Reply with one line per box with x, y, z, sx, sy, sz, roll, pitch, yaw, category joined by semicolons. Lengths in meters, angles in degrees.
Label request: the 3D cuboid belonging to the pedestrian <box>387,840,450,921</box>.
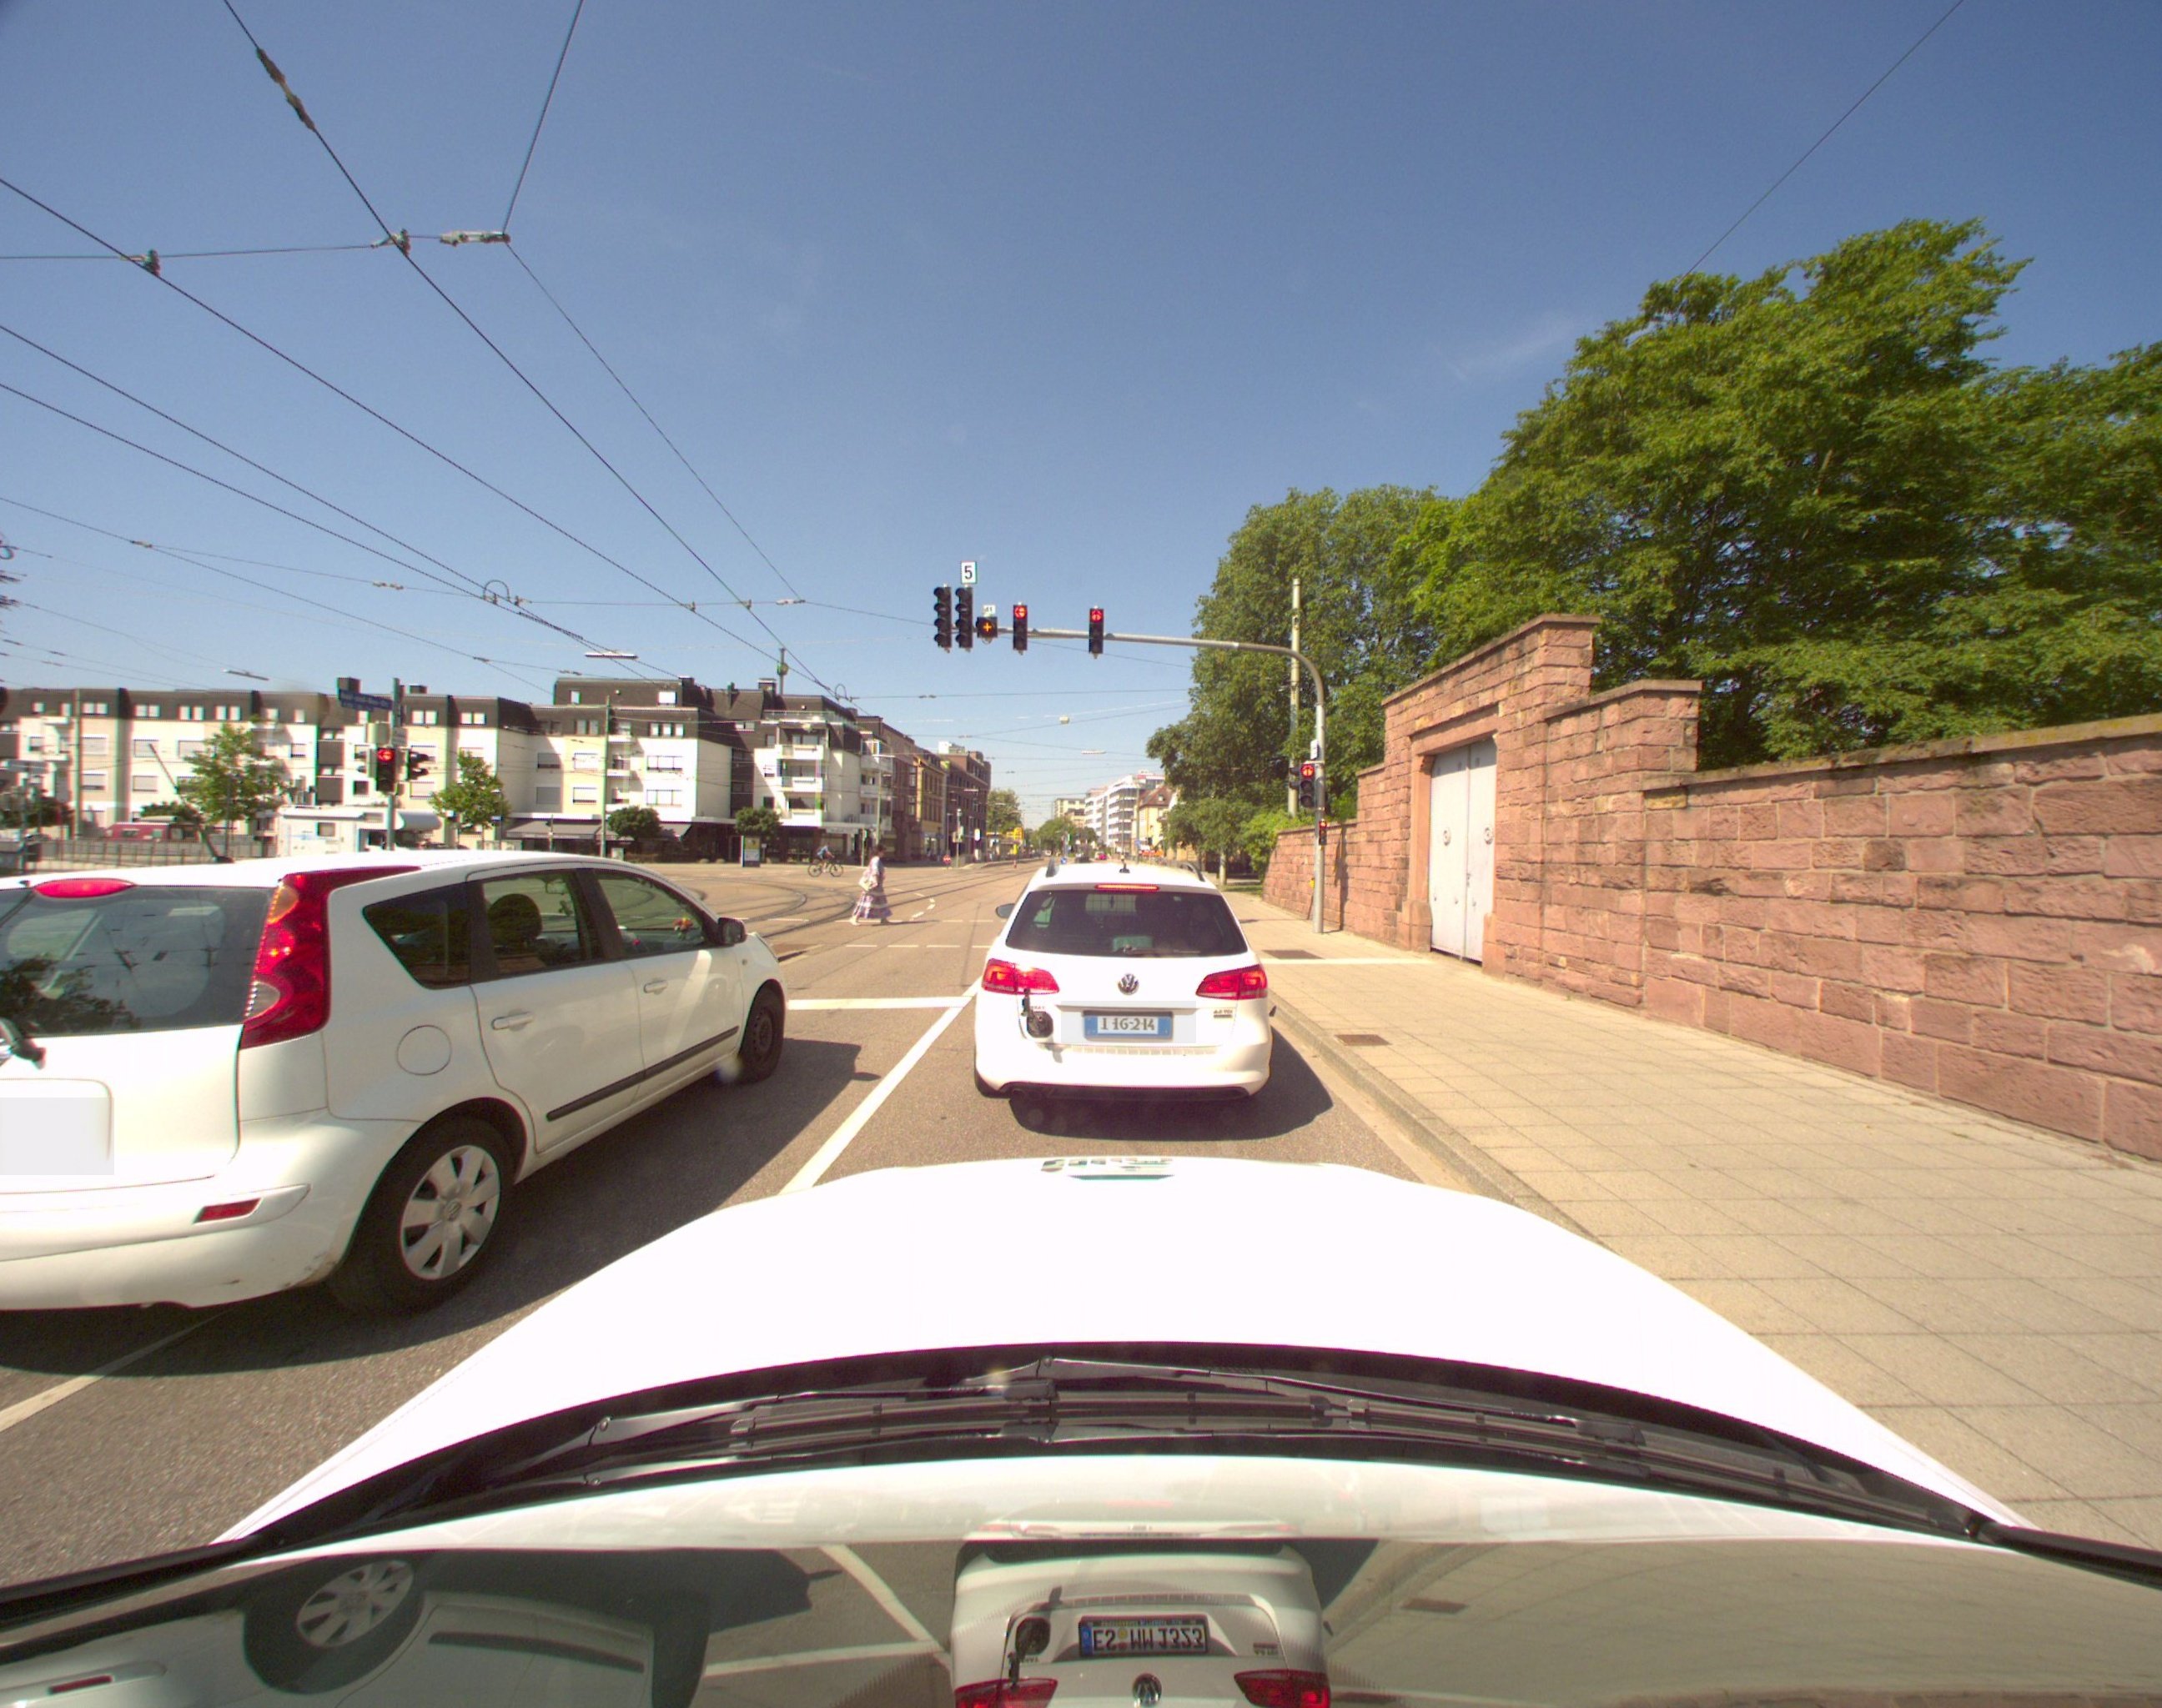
-13.230;0.523;16.276;0.746;1.571;0.672;-1;0;-13;pedestrian

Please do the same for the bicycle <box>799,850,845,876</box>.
-13.502;0.466;42.485;2.249;1.297;0.556;0;-1;-20;bicycle

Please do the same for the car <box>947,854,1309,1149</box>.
0.293;0.739;6.079;1.801;1.448;4.001;0;0;1;car

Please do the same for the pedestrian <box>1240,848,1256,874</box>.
11.689;0.488;56.924;0.963;1.743;0.869;-1;-1;21;pedestrian

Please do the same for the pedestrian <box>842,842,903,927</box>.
-4.220;0.595;16.469;0.977;1.651;0.947;0;-1;-29;pedestrian

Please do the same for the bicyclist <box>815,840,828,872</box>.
-13.537;0.108;42.483;0.638;1.612;0.559;0;-1;-20;bicyclist

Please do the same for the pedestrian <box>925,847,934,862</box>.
-17.416;0.070;93.445;0.860;1.743;0.973;-1;-1;-4;pedestrian

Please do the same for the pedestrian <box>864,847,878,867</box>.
-18.901;0.284;73.340;0.980;1.743;0.854;0;-2;-45;pedestrian

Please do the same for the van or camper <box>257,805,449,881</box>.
-31.000;-0.439;34.878;5.673;3.093;2.571;-1;-1;-4;van or camper

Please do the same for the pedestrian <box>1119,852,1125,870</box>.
5.326;0.905;105.310;0.687;2.325;1.233;-1;-1;3;pedestrian

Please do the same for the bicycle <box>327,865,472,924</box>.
-13.169;0.776;15.799;2.021;1.090;0.707;1;0;-13;bicycle

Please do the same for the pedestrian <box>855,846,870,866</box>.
-19.832;0.205;73.805;0.853;1.743;0.981;-2;-1;37;pedestrian

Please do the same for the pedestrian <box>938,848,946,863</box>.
-16.961;0.161;99.495;0.860;1.743;0.973;-1;-1;-4;pedestrian

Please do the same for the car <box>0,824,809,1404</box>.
-2.887;0.682;4.109;1.636;1.566;3.805;-1;1;1;car
